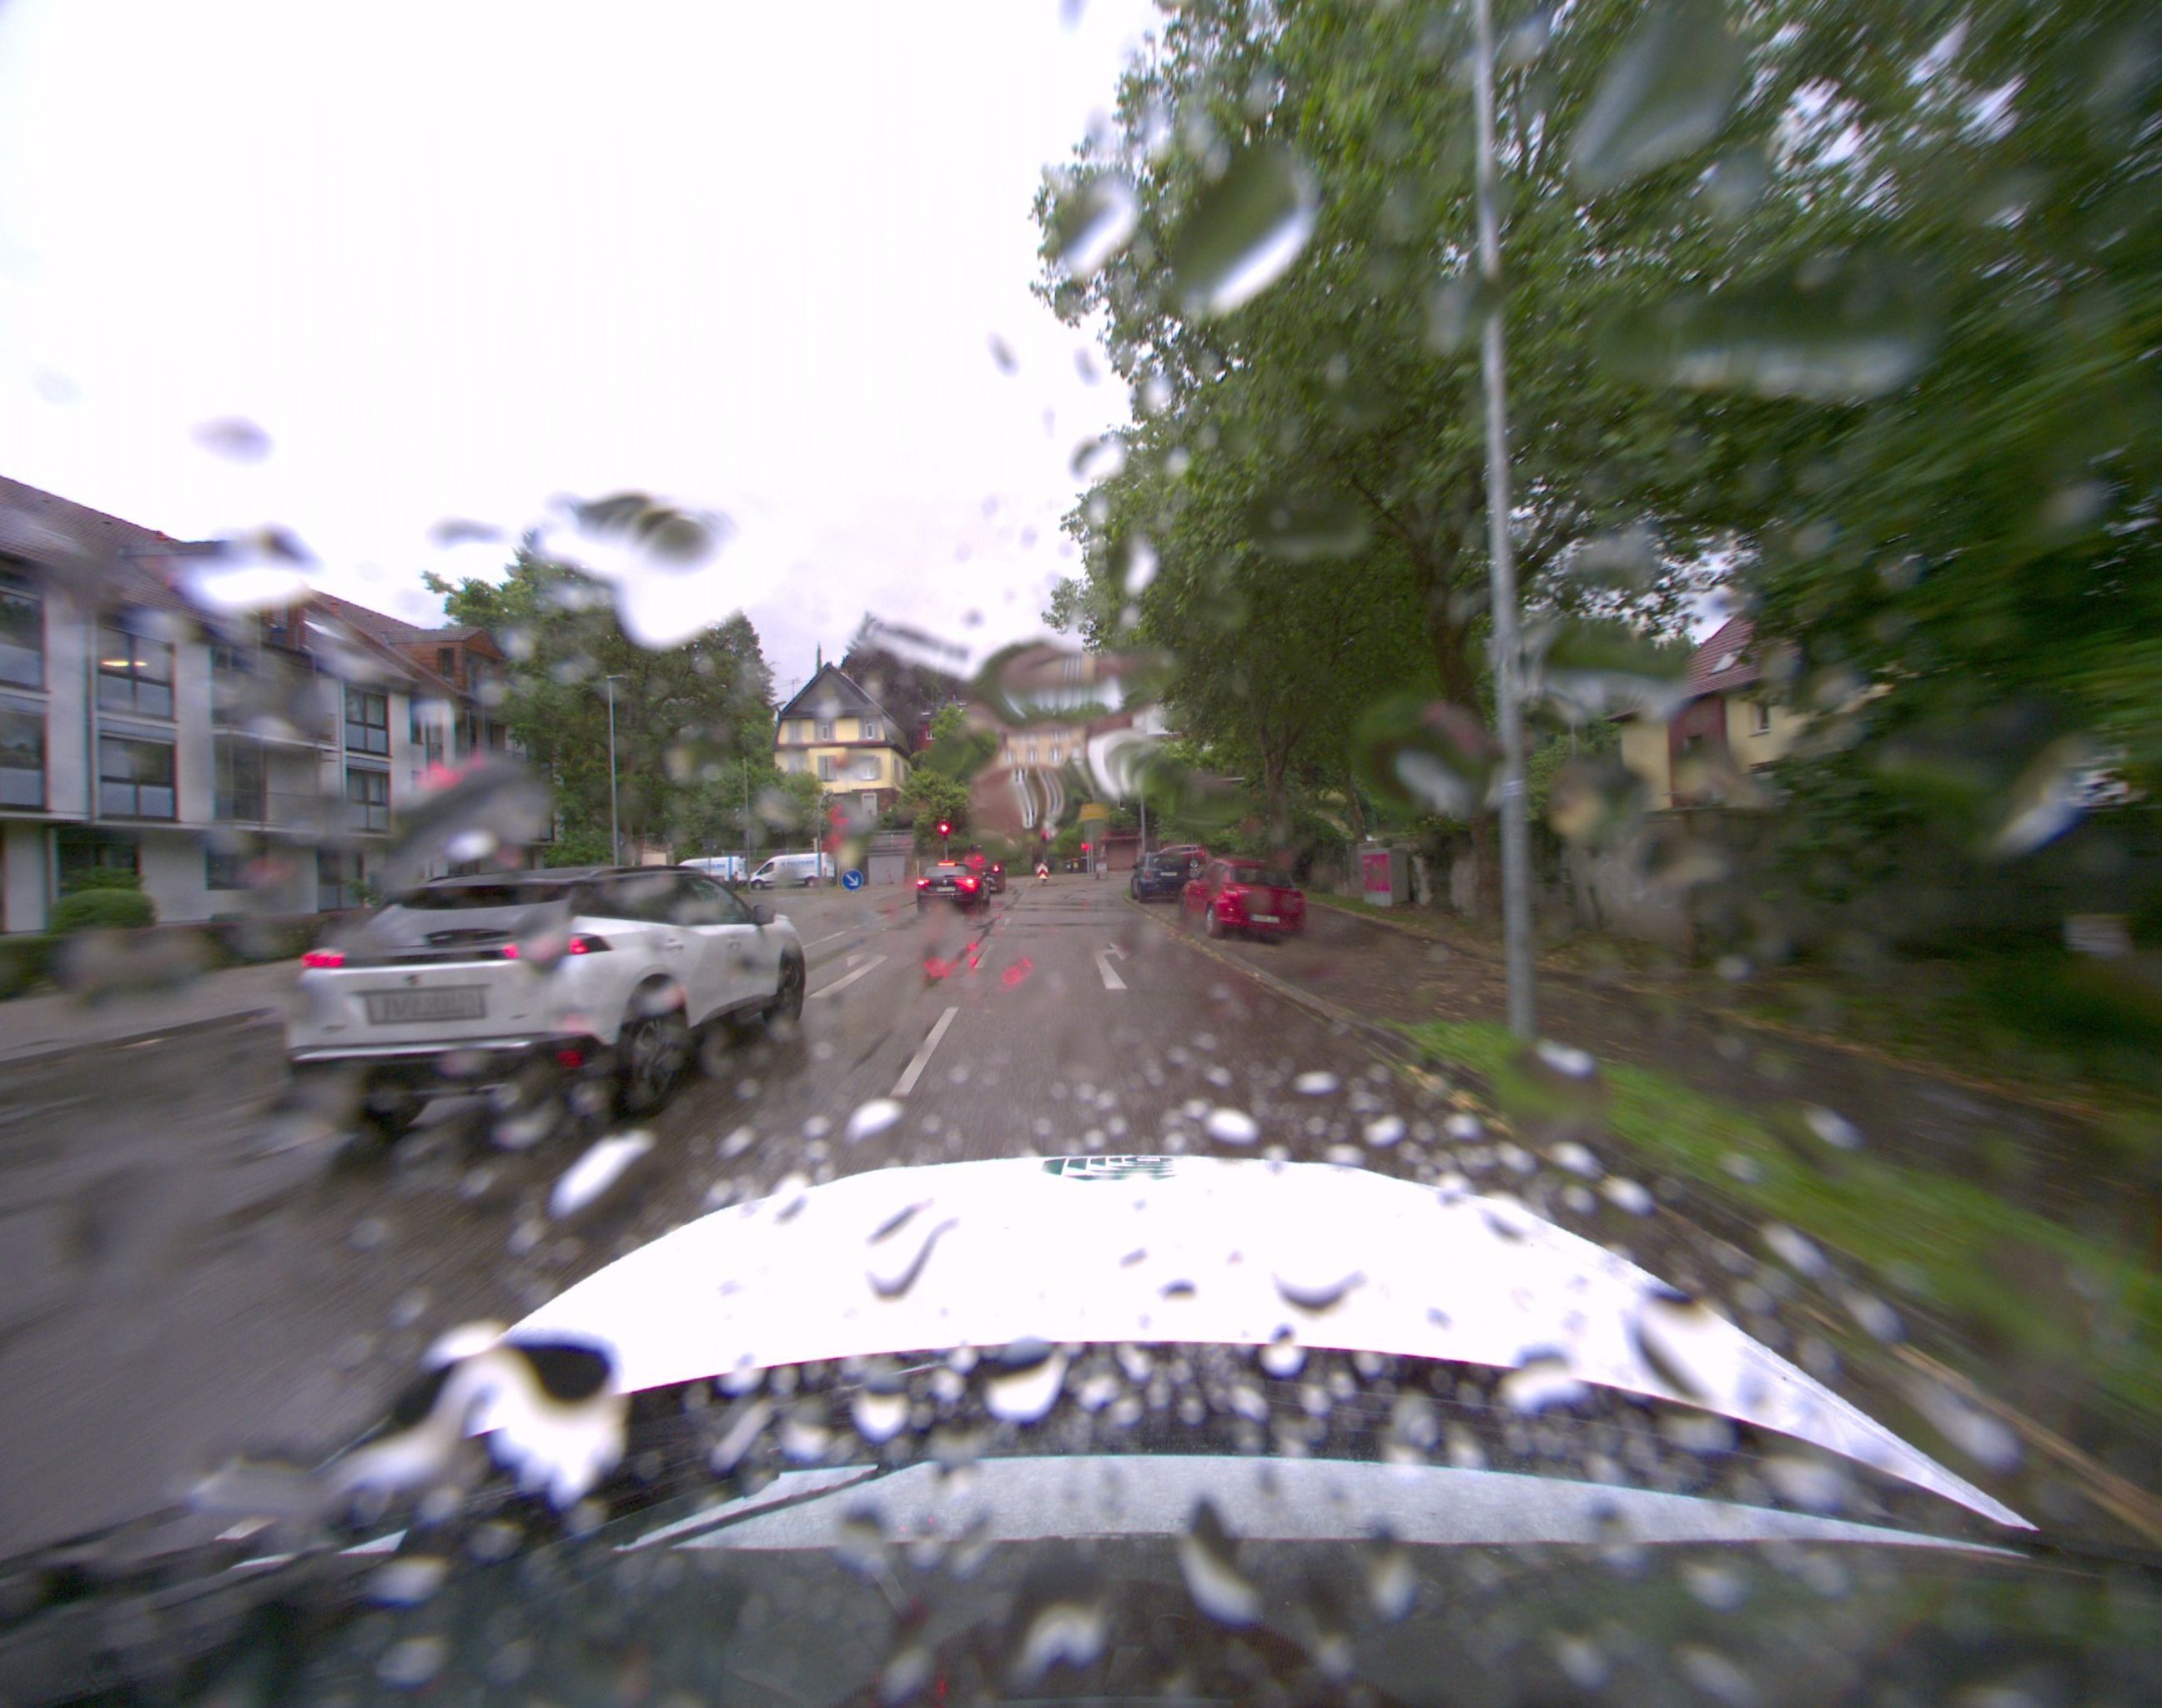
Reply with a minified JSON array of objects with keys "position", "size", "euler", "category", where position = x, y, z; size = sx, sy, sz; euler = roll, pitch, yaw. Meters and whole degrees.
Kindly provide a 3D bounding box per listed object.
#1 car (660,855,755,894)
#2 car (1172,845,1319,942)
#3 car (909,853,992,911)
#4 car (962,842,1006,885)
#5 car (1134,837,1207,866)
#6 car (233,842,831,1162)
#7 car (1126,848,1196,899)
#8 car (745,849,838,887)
[{"position":[-26.261,1.419,57.363],"size":[5.546,2.494,2.315],"euler":[-2,-1,-1],"category":"car"},{"position":[3.101,0.676,16.176],"size":[1.816,1.517,3.738],"euler":[5,1,-4],"category":"car"},{"position":[-3.701,0.735,23.839],"size":[1.827,1.456,4.655],"euler":[0,1,-2],"category":"car"},{"position":[-4.165,0.369,35.469],"size":[1.758,1.711,4.592],"euler":[-1,1,-5],"category":"car"},{"position":[5.895,-0.159,53.873],"size":[4.554,1.601,1.774],"euler":[-4,-1,-1],"category":"car"},{"position":[-3.491,0.756,6.391],"size":[1.748,1.536,4.364],"euler":[-3,0,-2],"category":"car"},{"position":[2.459,0.582,25.732],"size":[1.745,1.492,3.597],"euler":[0,0,-2],"category":"car"},{"position":[-20.325,0.993,57.364],"size":[5.643,2.494,2.315],"euler":[-2,-1,-1],"category":"car"}]
